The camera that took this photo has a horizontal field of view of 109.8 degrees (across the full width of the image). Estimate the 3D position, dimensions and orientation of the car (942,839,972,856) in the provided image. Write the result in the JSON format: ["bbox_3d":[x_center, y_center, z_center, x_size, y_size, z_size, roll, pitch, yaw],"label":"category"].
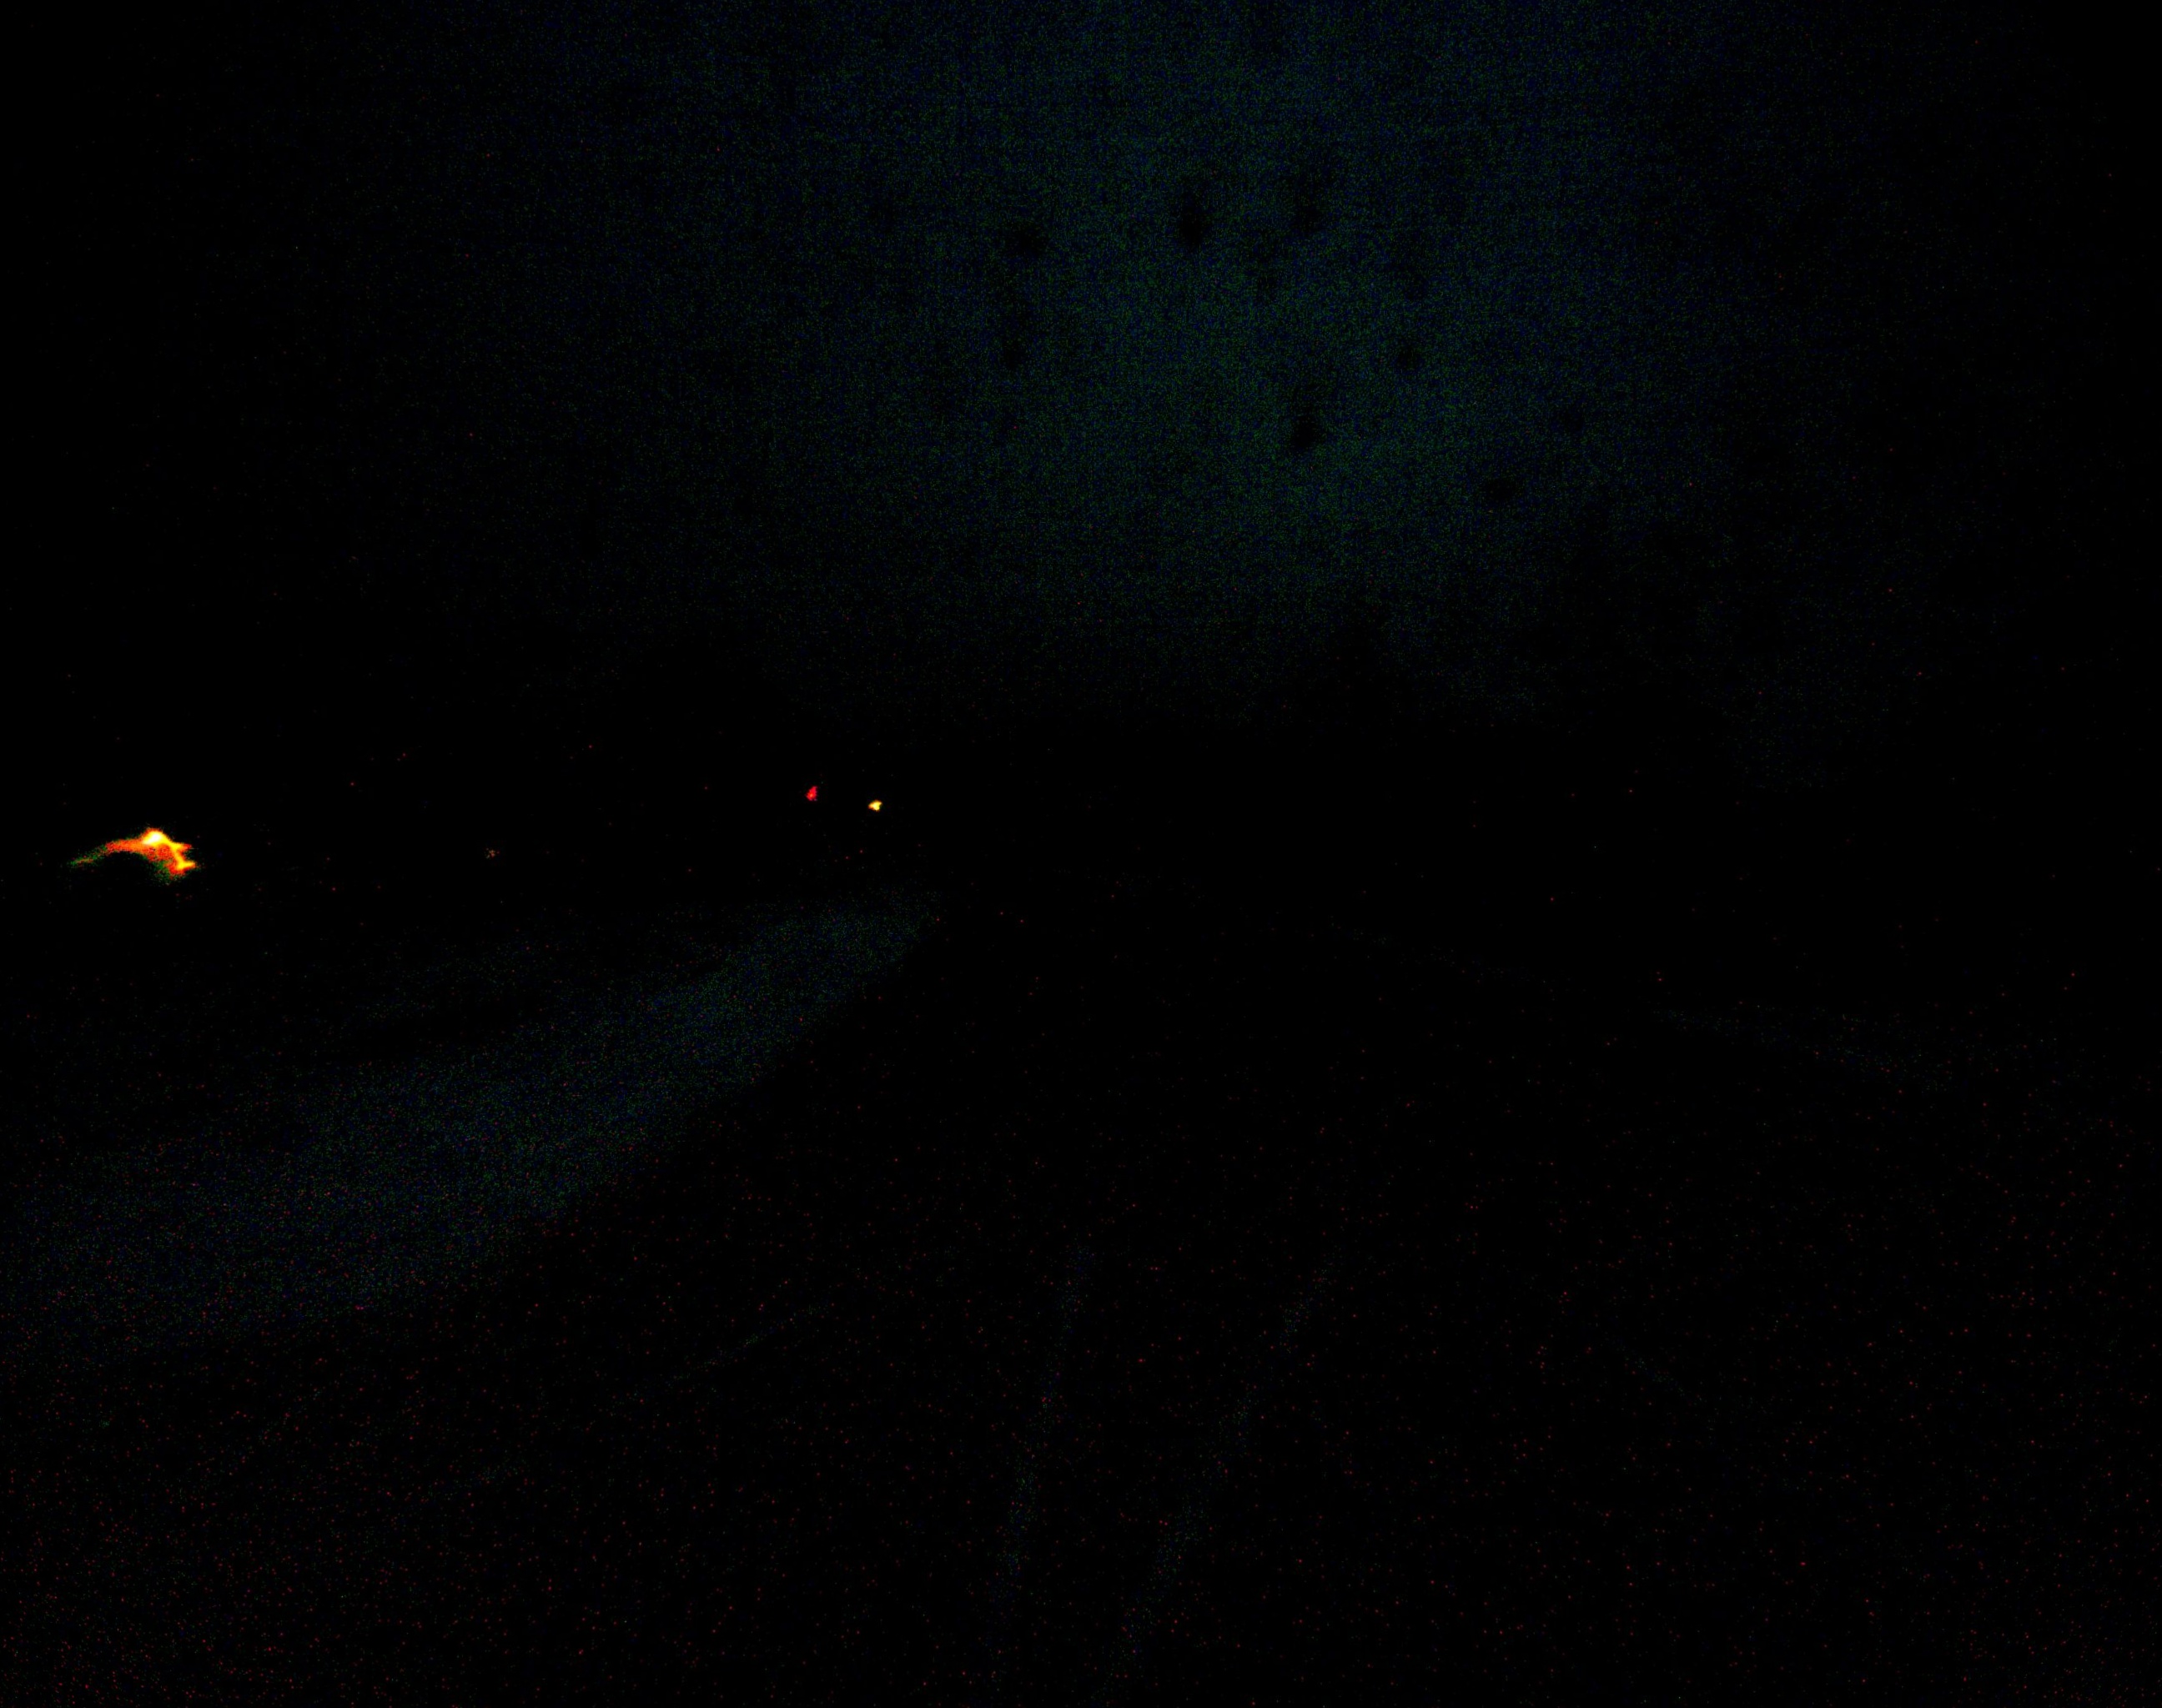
[{"bbox_3d":[-11.645,-0.613,71.439,1.727,1.525,3.508,1,1,-28],"label":"car"}]

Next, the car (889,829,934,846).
[{"bbox_3d":[-22.202,-2.146,99.753,5.288,2.003,2.207,1,5,-32],"label":"car"}]

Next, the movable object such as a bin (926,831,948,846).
[{"bbox_3d":[-17.020,-1.886,90.000,2.371,1.640,1.439,-2,3,-8],"label":"movable object such as a bin"}]
